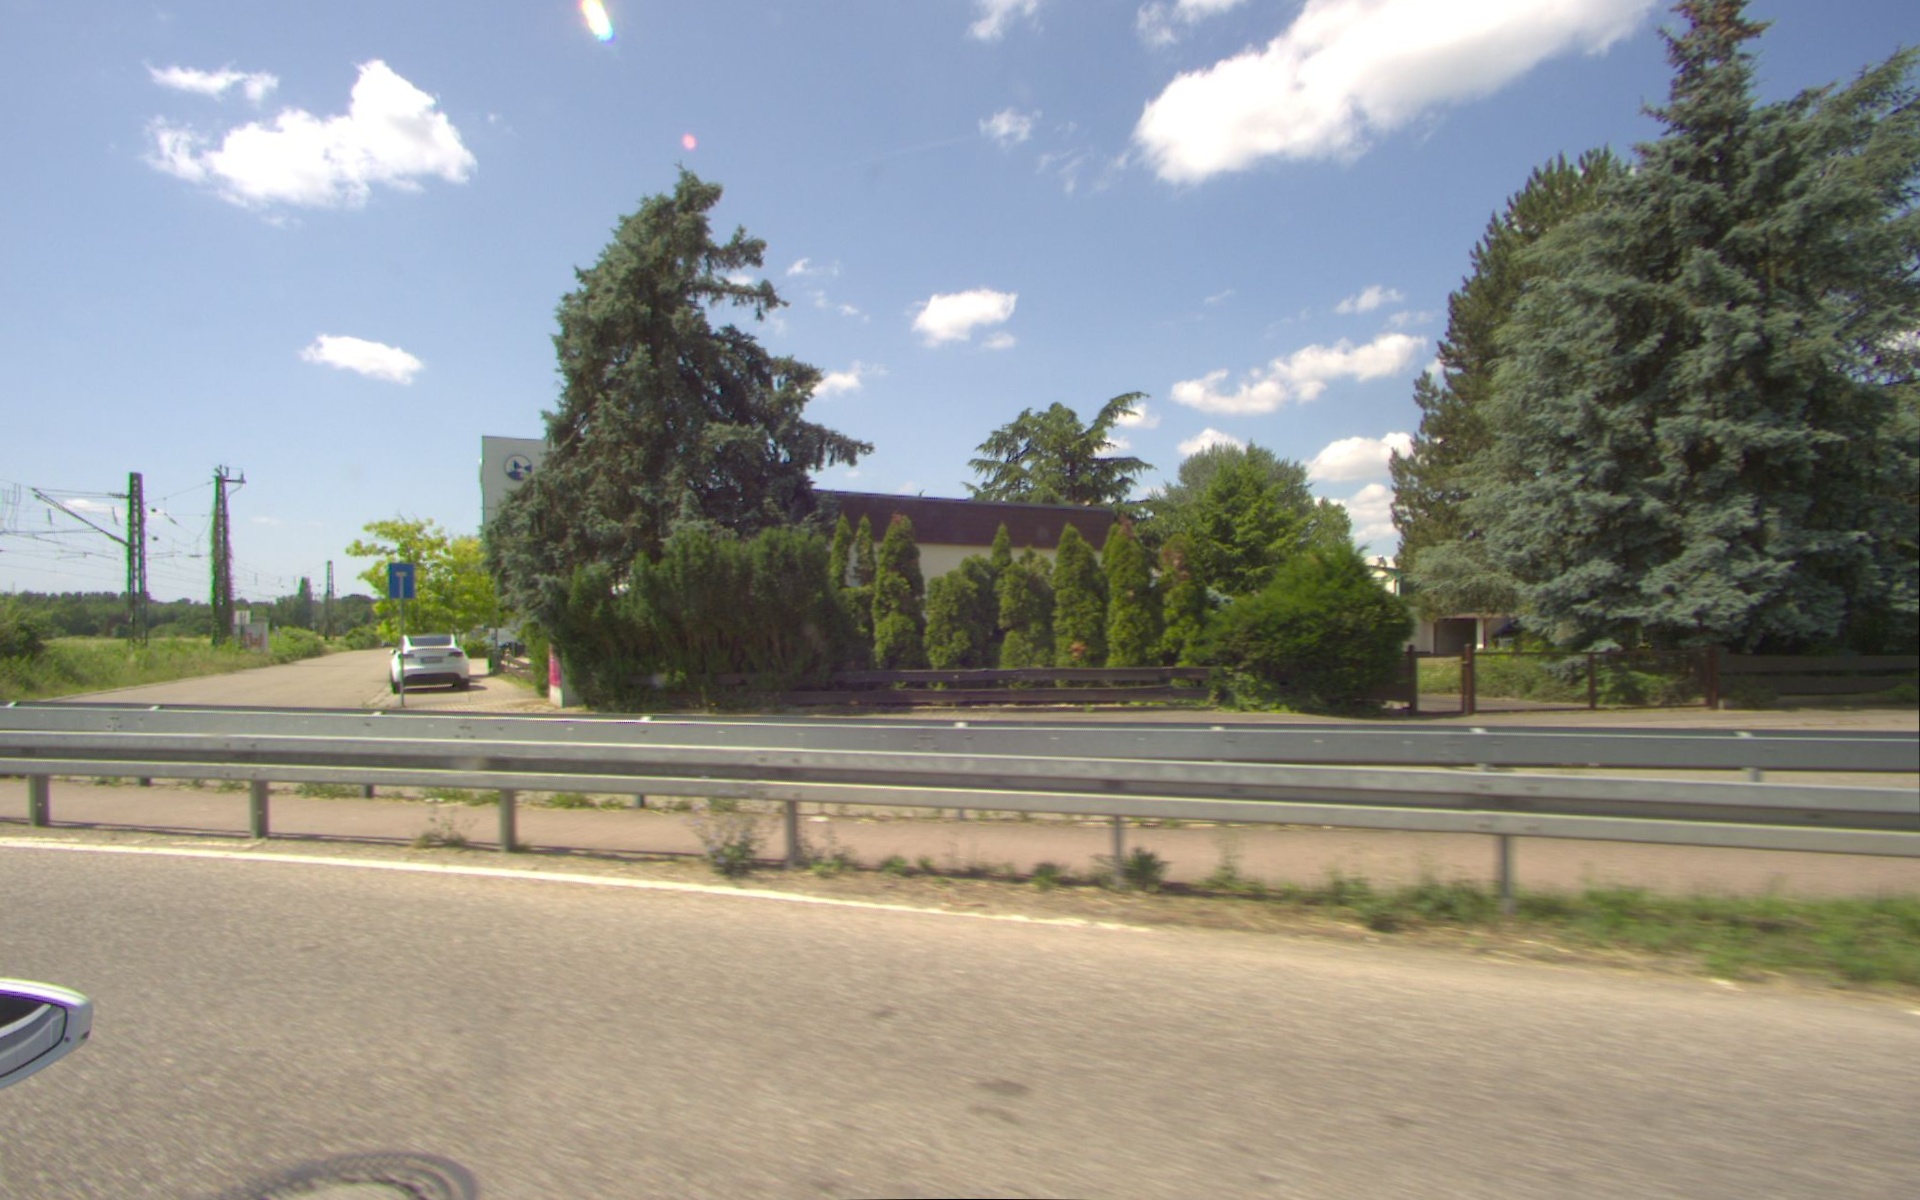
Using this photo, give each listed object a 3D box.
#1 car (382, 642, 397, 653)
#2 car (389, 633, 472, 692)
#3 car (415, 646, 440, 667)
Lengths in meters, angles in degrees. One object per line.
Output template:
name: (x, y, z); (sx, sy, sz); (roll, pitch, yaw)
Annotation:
car: (-82.478, 6.841, 144.757); (1.626, 1.497, 2.891); (1, -2, -27)
car: (-15.384, 1.738, 29.001); (1.971, 1.529, 4.432); (1, -2, -30)
car: (-39.228, 4.121, 73.851); (1.572, 1.471, 3.320); (1, -2, -27)
